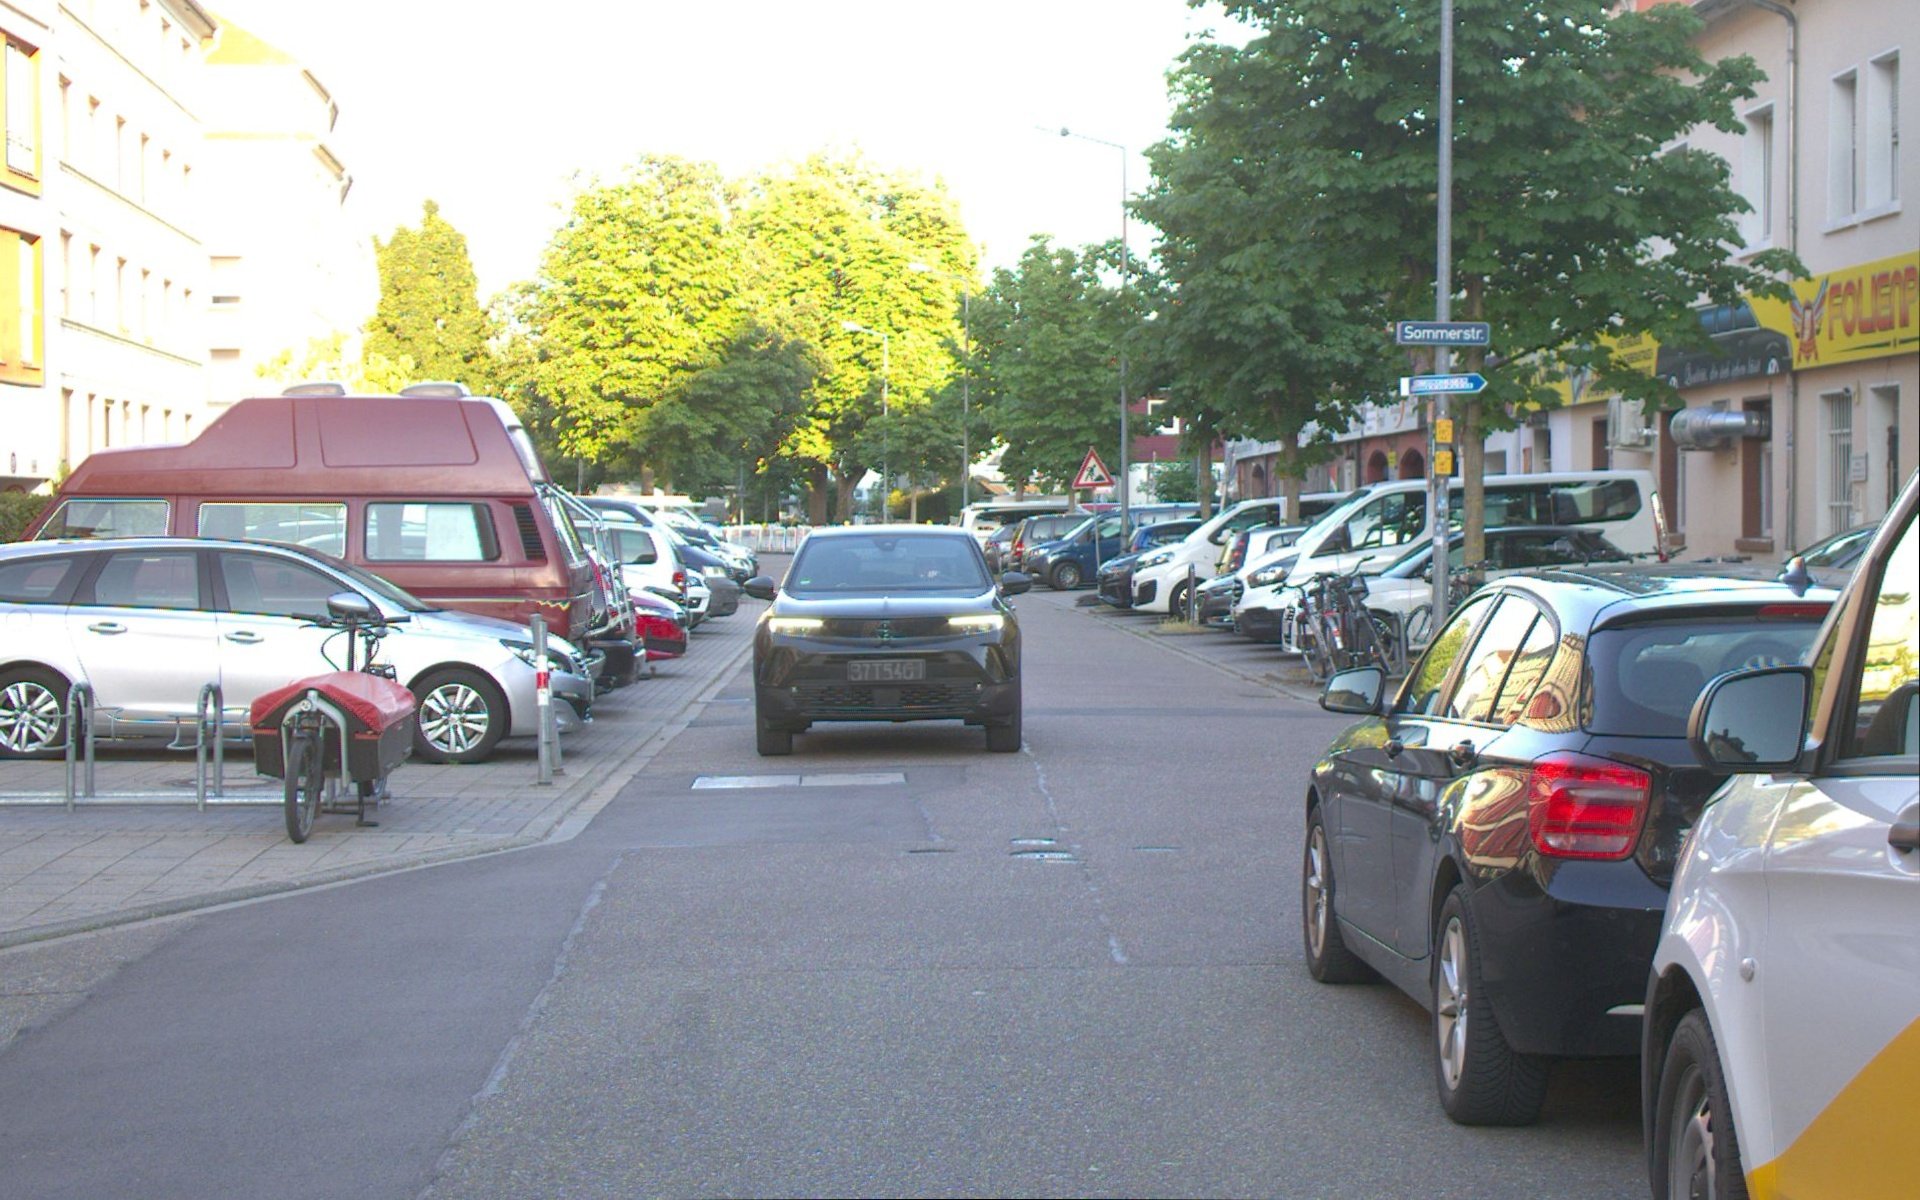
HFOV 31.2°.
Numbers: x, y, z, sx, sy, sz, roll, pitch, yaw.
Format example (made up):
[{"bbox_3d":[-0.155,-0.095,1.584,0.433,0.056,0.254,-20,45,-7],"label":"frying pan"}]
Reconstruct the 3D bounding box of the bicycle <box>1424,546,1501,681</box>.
[{"bbox_3d":[4.695,0.106,32.191,0.386,1.196,2.017,-1,2,-1],"label":"bicycle"}]

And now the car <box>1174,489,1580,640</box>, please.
[{"bbox_3d":[5.334,-0.471,44.456,4.944,1.736,2.049,-2,1,0],"label":"car"}]

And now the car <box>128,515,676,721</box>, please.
[{"bbox_3d":[-4.477,0.123,28.074,4.208,1.532,1.791,1,1,-3],"label":"car"}]

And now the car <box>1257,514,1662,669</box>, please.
[{"bbox_3d":[5.234,-0.111,36.329,3.918,1.446,1.769,-2,2,-3],"label":"car"}]

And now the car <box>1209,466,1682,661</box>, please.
[{"bbox_3d":[5.450,-0.435,39.110,4.990,1.976,2.220,-2,1,0],"label":"car"}]

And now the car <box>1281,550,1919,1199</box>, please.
[{"bbox_3d":[2.041,0.607,9.894,1.721,1.419,4.254,1,1,-1],"label":"car"}]

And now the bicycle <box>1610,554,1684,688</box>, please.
[{"bbox_3d":[6.391,0.182,32.015,0.353,1.196,1.481,-1,2,-1],"label":"bicycle"}]

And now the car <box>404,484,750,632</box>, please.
[{"bbox_3d":[-5.576,-0.630,50.469,4.850,2.014,1.907,1,1,-1],"label":"car"}]

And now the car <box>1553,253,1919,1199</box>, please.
[{"bbox_3d":[2.208,0.496,4.343,1.893,1.877,5.083,1,1,-2],"label":"car"}]

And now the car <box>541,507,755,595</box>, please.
[{"bbox_3d":[-6.458,-1.022,71.557,4.256,1.709,2.000,1,1,-1],"label":"car"}]

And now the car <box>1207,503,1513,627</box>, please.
[{"bbox_3d":[5.438,-0.493,47.090,3.911,1.521,1.939,-2,1,0],"label":"car"}]

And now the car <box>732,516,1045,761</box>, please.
[{"bbox_3d":[-0.407,0.197,23.788,1.779,1.512,4.000,-1,1,4],"label":"car"}]

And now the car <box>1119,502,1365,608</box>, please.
[{"bbox_3d":[5.231,-0.857,64.122,4.316,1.798,1.811,-2,1,-2],"label":"car"}]

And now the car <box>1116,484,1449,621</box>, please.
[{"bbox_3d":[5.057,-0.758,54.390,4.943,1.951,2.049,-2,1,-2],"label":"car"}]

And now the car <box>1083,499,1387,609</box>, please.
[{"bbox_3d":[4.699,-0.808,59.212,4.943,1.683,2.077,-2,1,-2],"label":"car"}]

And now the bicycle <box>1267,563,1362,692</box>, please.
[{"bbox_3d":[3.287,0.238,31.979,0.438,1.126,2.018,-1,2,-6],"label":"bicycle"}]

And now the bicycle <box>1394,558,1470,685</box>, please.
[{"bbox_3d":[4.410,0.185,32.204,0.386,1.110,2.017,-1,2,-1],"label":"bicycle"}]

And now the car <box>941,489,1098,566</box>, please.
[{"bbox_3d":[1.579,-1.938,92.252,3.967,1.905,2.050,-2,1,-5],"label":"car"}]

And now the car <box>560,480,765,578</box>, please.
[{"bbox_3d":[-6.801,-1.637,78.952,4.533,2.127,2.000,1,1,-1],"label":"car"}]

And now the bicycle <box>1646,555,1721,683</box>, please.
[{"bbox_3d":[6.750,0.166,32.098,0.353,1.139,1.481,-1,2,-1],"label":"bicycle"}]

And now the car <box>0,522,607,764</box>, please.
[{"bbox_3d":[-4.714,0.255,22.927,4.615,1.455,1.881,1,1,-4],"label":"car"}]

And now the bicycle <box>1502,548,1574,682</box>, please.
[{"bbox_3d":[5.381,0.123,32.048,0.386,1.196,1.481,-1,2,-1],"label":"bicycle"}]

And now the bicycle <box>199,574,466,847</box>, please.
[{"bbox_3d":[-3.165,0.510,17.645,0.808,1.217,2.865,1,1,0],"label":"bicycle"}]

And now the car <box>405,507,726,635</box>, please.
[{"bbox_3d":[-5.452,-0.422,47.919,4.256,1.646,1.888,1,1,-1],"label":"car"}]

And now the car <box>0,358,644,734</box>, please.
[{"bbox_3d":[-4.726,-0.410,25.490,4.511,2.575,2.000,1,1,1],"label":"car"}]

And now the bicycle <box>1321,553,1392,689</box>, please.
[{"bbox_3d":[3.700,0.175,32.166,0.386,1.196,2.017,-1,2,-1],"label":"bicycle"}]

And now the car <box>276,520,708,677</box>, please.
[{"bbox_3d":[-4.800,-0.040,35.679,4.209,1.484,1.850,1,1,0],"label":"car"}]

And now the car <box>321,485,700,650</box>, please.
[{"bbox_3d":[-5.315,-0.405,41.089,4.256,1.829,2.000,1,1,-1],"label":"car"}]

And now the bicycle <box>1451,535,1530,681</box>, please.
[{"bbox_3d":[4.956,0.052,32.200,0.386,1.300,2.017,-1,2,-1],"label":"bicycle"}]

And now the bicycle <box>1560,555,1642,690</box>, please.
[{"bbox_3d":[5.961,0.199,32.022,0.445,1.196,1.481,-1,2,-1],"label":"bicycle"}]

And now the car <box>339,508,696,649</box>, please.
[{"bbox_3d":[-5.550,-0.293,43.564,4.256,1.654,2.000,1,1,-1],"label":"car"}]

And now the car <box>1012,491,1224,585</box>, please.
[{"bbox_3d":[3.501,-1.396,76.677,4.478,1.905,1.688,-2,1,-5],"label":"car"}]

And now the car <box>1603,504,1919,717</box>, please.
[{"bbox_3d":[7.244,0.039,26.986,4.050,1.509,1.756,-1,3,0],"label":"car"}]

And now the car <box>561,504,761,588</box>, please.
[{"bbox_3d":[-6.606,-1.201,76.326,4.256,1.743,2.000,1,1,-1],"label":"car"}]
